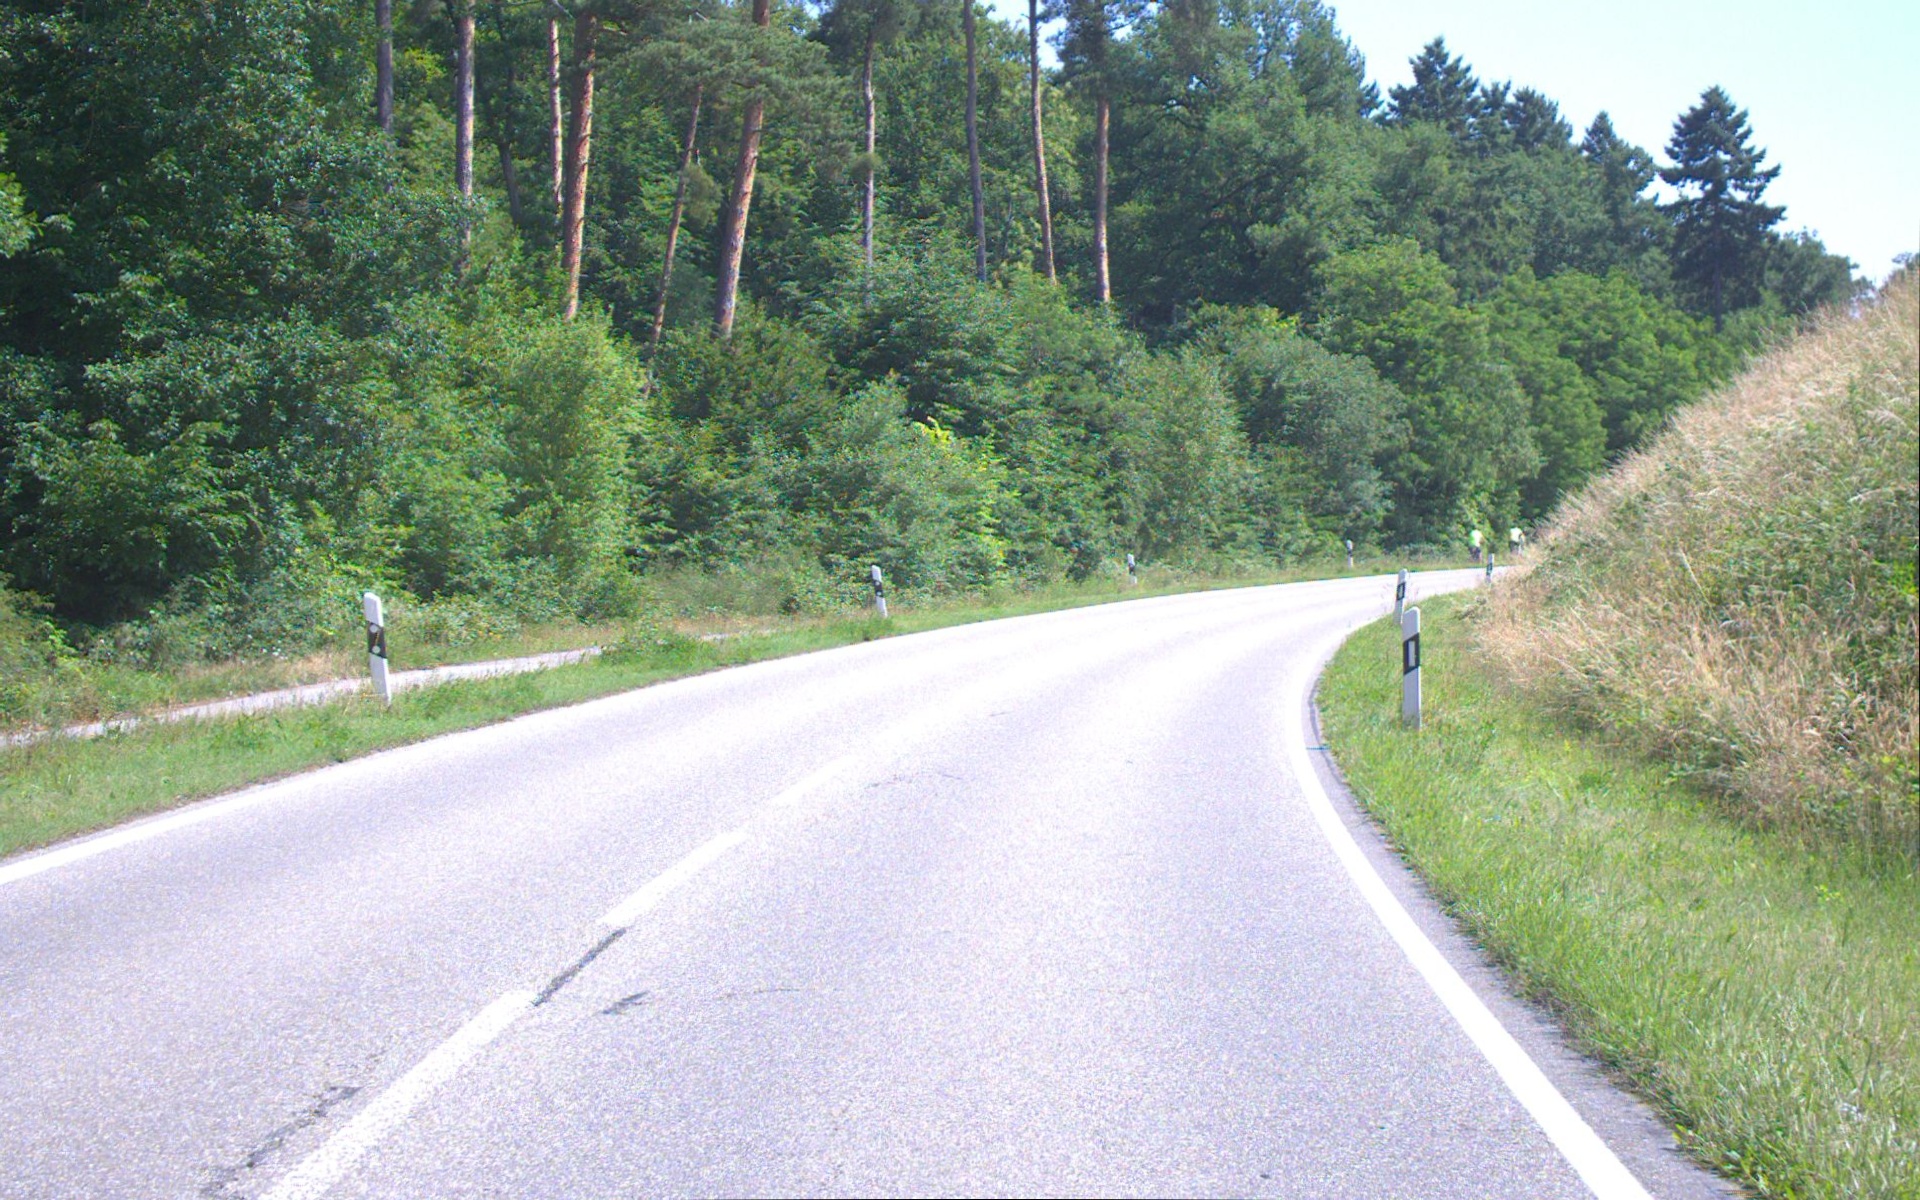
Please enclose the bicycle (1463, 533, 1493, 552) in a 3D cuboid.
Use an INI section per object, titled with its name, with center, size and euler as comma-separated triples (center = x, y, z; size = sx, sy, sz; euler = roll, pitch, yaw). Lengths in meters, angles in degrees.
[bicycle]
center = 20.321, -2.249, 134.767
size = 0.620, 0.679, 2.134
euler = -1, 1, 23
